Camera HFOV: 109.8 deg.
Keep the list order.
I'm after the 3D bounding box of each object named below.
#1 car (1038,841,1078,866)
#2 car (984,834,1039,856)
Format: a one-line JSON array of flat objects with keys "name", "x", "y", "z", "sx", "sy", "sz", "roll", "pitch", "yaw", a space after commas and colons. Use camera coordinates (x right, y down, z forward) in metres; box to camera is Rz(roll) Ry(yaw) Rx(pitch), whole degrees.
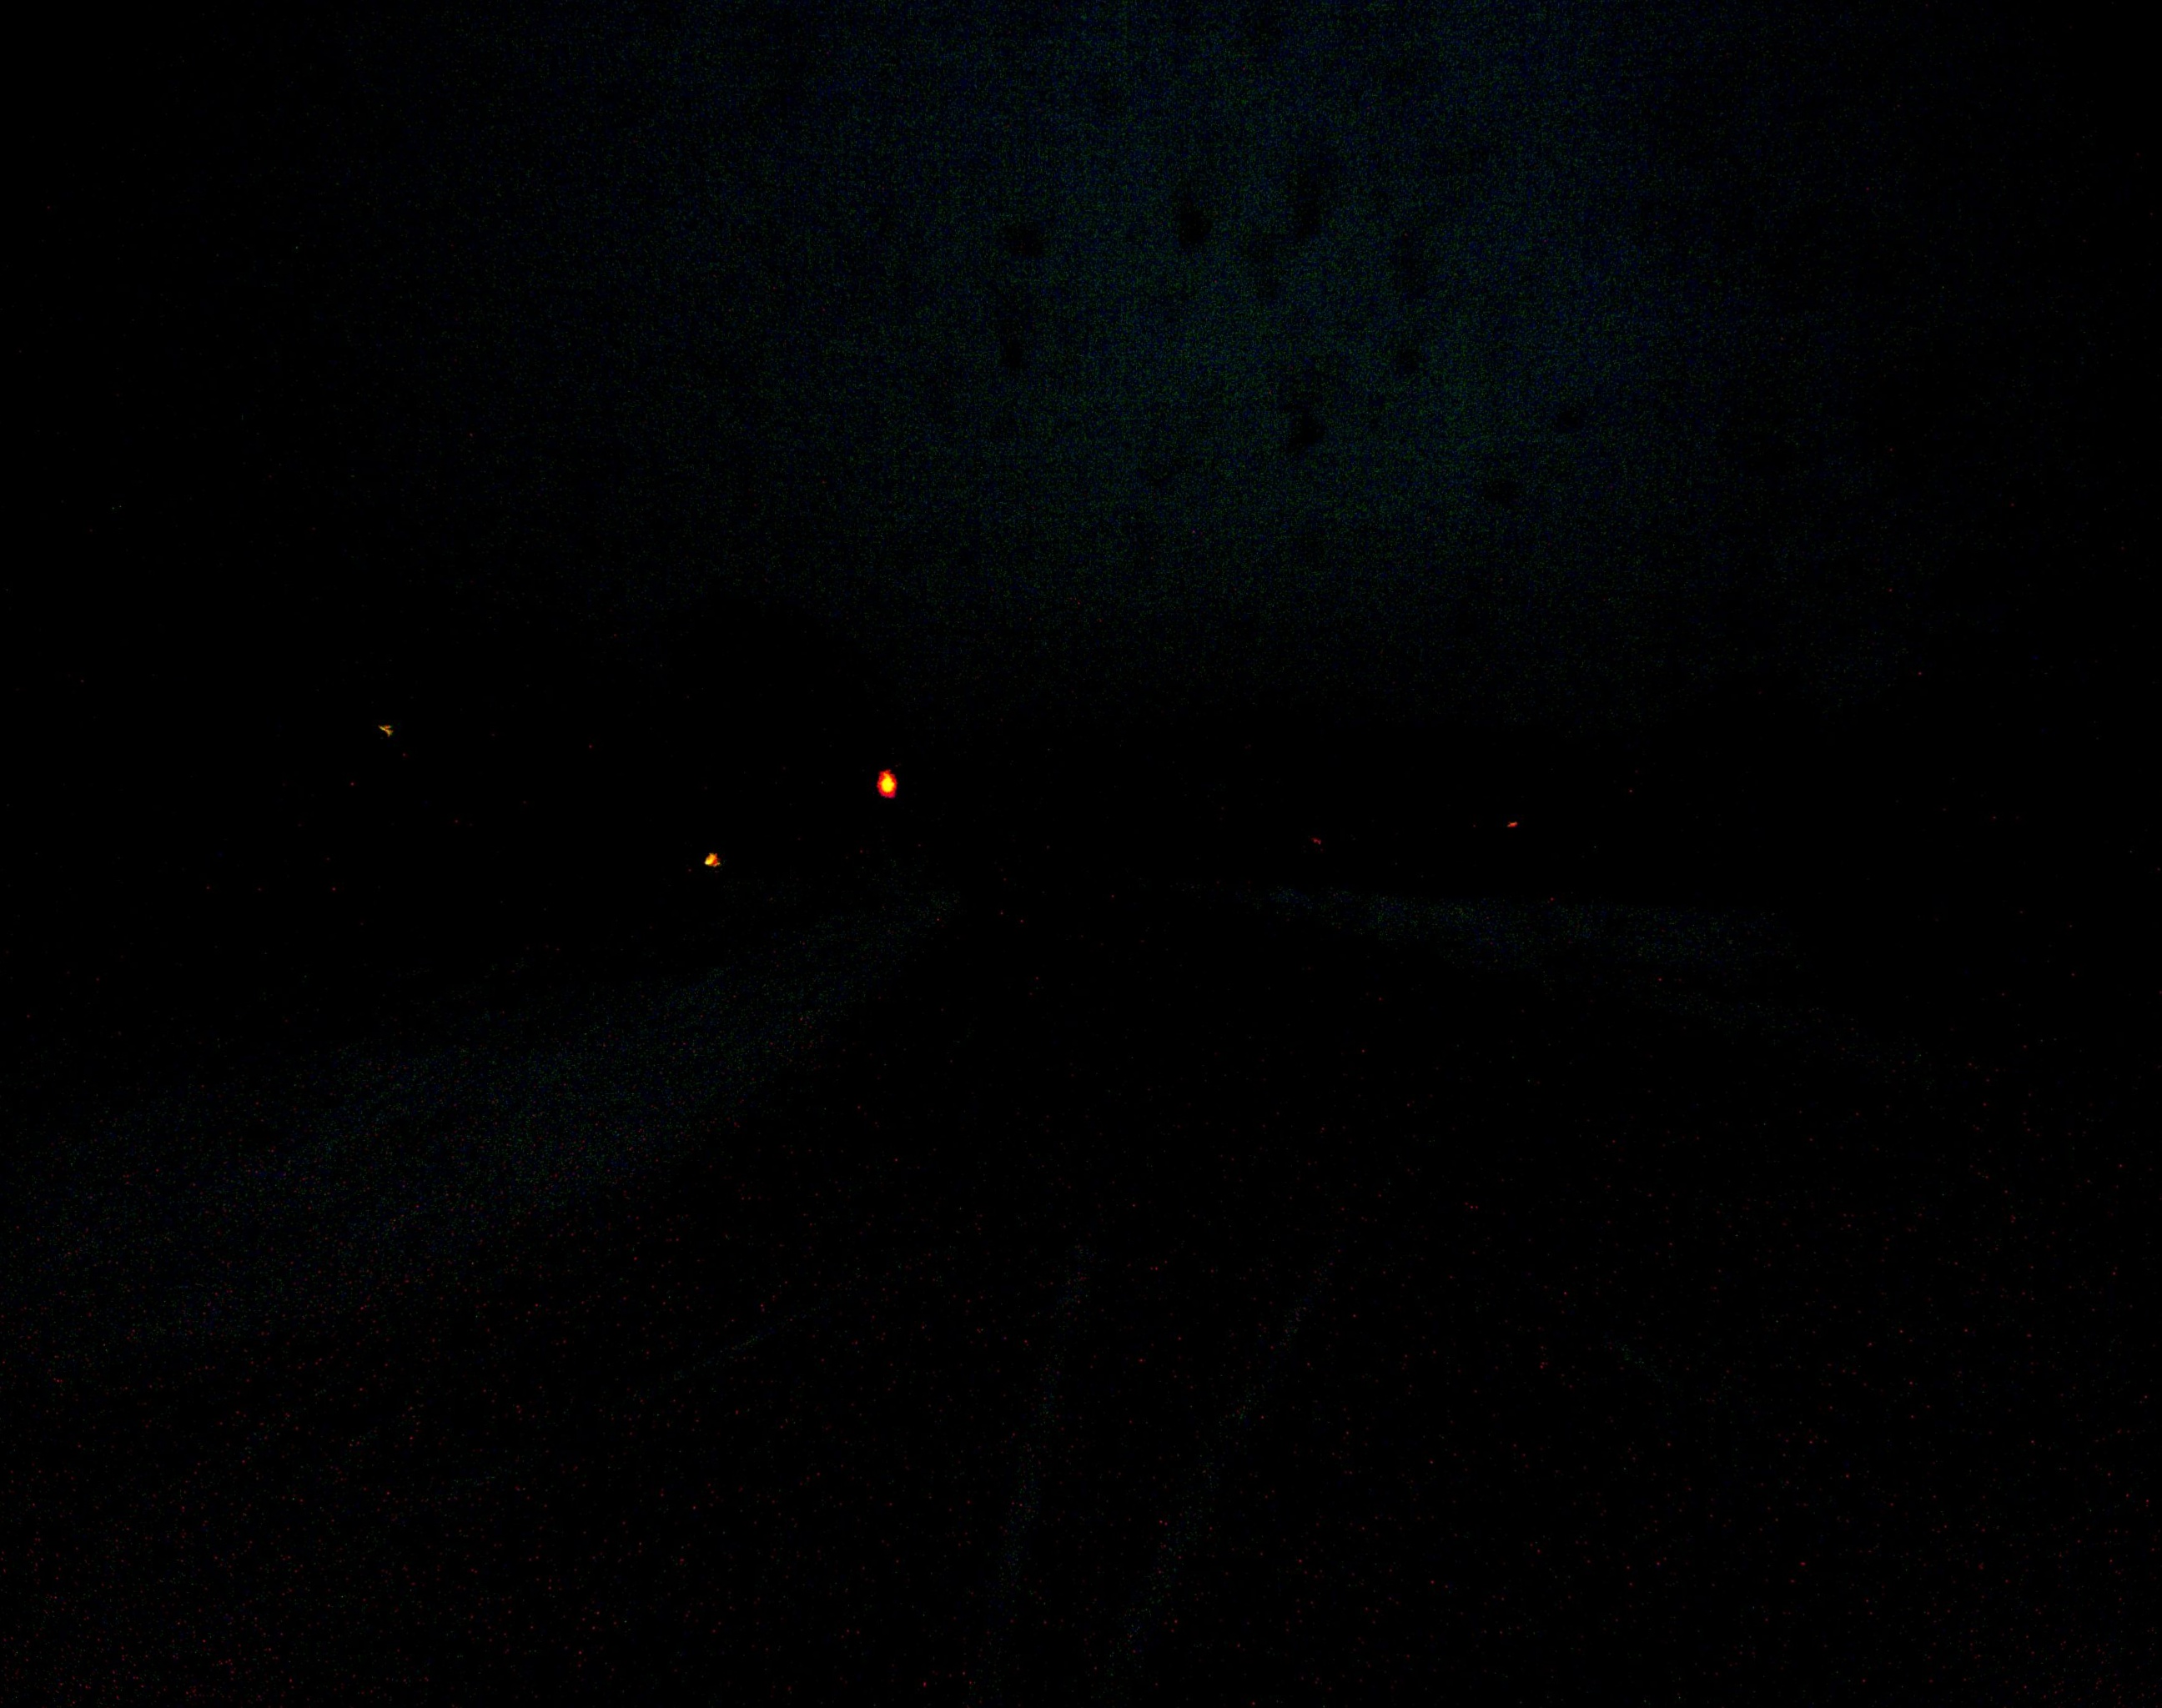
[{"name": "car", "x": -1.577, "y": -0.041, "z": 50.364, "sx": 1.726, "sy": 1.525, "sz": 3.510, "roll": 1, "pitch": 1, "yaw": -18}, {"name": "car", "x": -7.290, "y": -0.978, "z": 80.128, "sx": 5.285, "sy": 2.003, "sz": 2.208, "roll": 1, "pitch": 5, "yaw": -23}]
